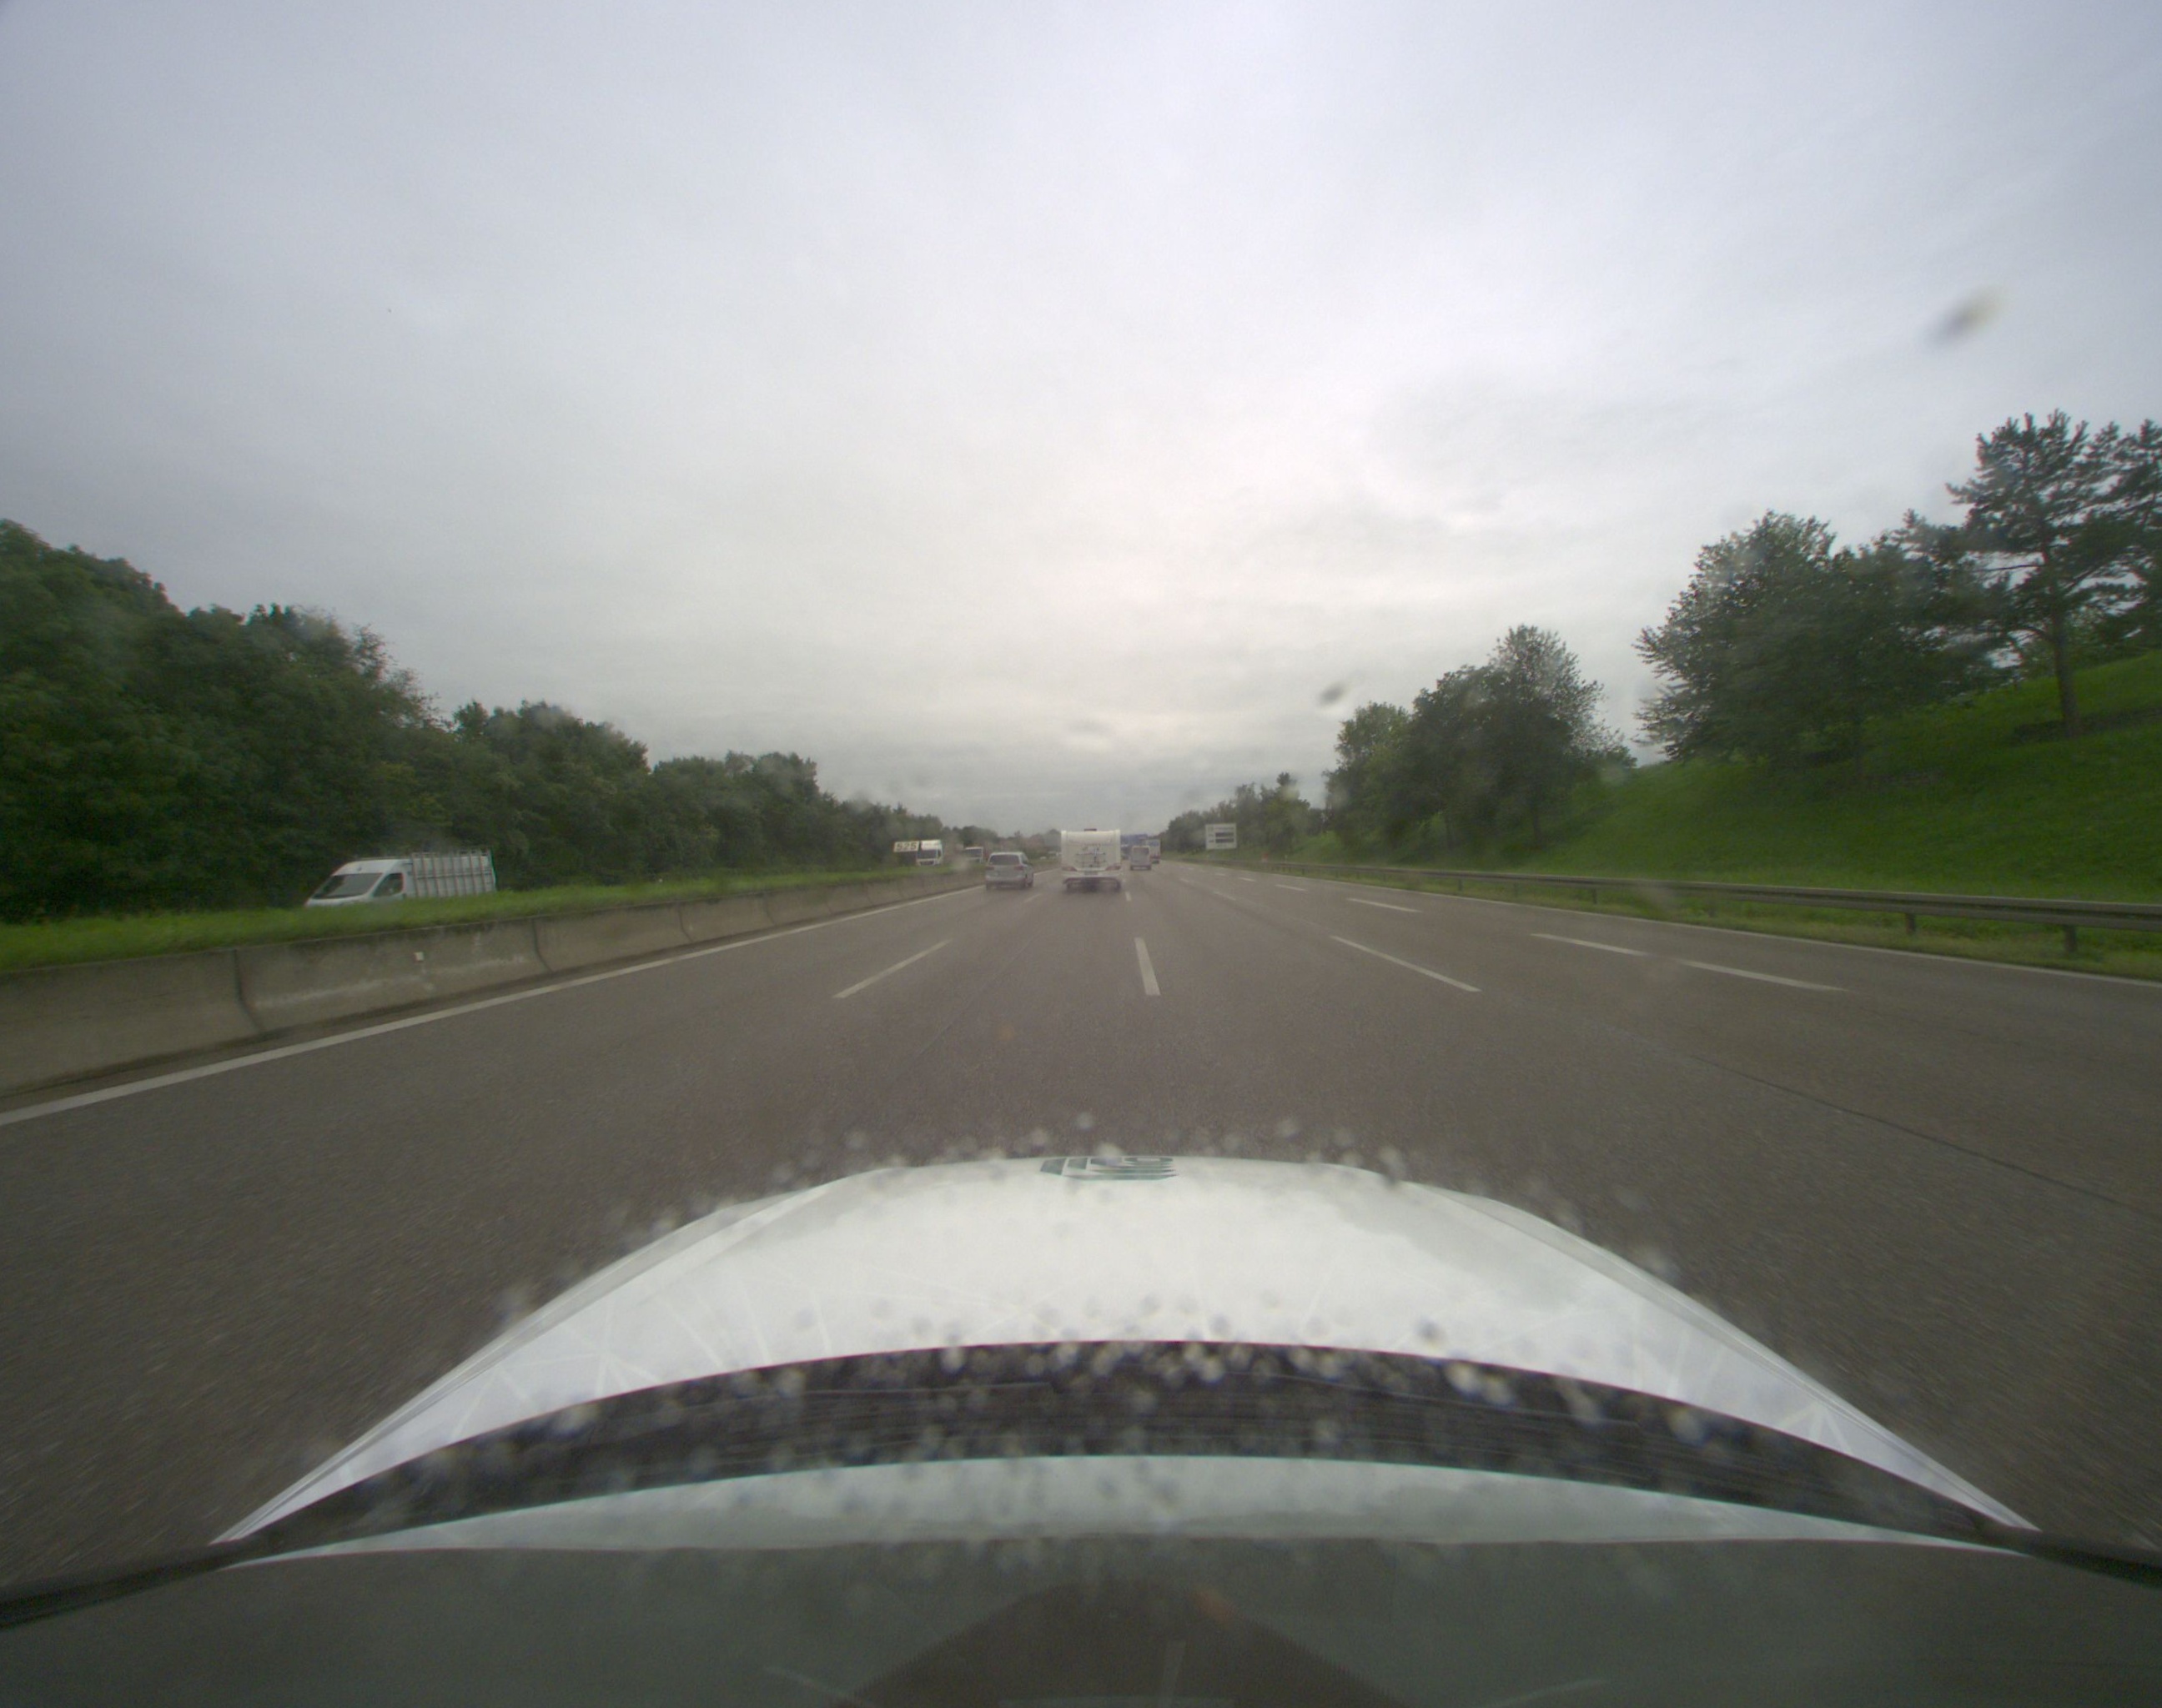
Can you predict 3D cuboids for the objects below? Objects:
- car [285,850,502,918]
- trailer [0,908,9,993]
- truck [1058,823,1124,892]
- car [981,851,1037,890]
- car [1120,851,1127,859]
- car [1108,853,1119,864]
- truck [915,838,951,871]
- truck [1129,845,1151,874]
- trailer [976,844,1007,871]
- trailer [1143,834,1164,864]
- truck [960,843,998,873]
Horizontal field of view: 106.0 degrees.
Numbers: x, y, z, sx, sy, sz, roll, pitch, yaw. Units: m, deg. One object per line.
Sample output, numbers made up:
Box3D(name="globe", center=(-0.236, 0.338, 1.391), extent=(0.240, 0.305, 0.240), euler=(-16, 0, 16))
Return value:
Box3D(name="car", center=(-23.280, 0.940, 28.059), extent=(2.188, 2.084, 6.067), euler=(0, -1, 1))
Box3D(name="trailer", center=(-26.861, 2.291, 16.963), extent=(1.985, 2.014, 5.182), euler=(0, -1, 4))
Box3D(name="truck", center=(0.503, 0.166, 35.440), extent=(2.651, 2.742, 5.079), euler=(0, -1, 2))
Box3D(name="car", center=(-3.309, 0.731, 38.030), extent=(2.120, 1.706, 4.114), euler=(0, -1, 2))
Box3D(name="car", center=(11.856, 0.256, 228.737), extent=(1.986, 2.013, 4.002), euler=(-1, 0, 2))
Box3D(name="car", center=(5.429, 0.745, 136.876), extent=(1.807, 1.740, 3.883), euler=(0, -1, 2))
Box3D(name="truck", center=(-16.709, 0.095, 92.153), extent=(2.656, 3.551, 6.763), euler=(0, -1, 2))
Box3D(name="truck", center=(5.869, 0.517, 81.494), extent=(2.045, 2.770, 5.551), euler=(0, -1, 2))
Box3D(name="trailer", center=(-12.094, 0.515, 111.041), extent=(2.920, 3.459, 8.325), euler=(0, -1, 2))
Box3D(name="trailer", center=(12.433, -0.702, 140.289), extent=(3.087, 4.922, 11.799), euler=(0, -1, 3))
Box3D(name="truck", center=(-12.504, 0.542, 101.168), extent=(2.940, 3.466, 11.189), euler=(0, -1, 2))
